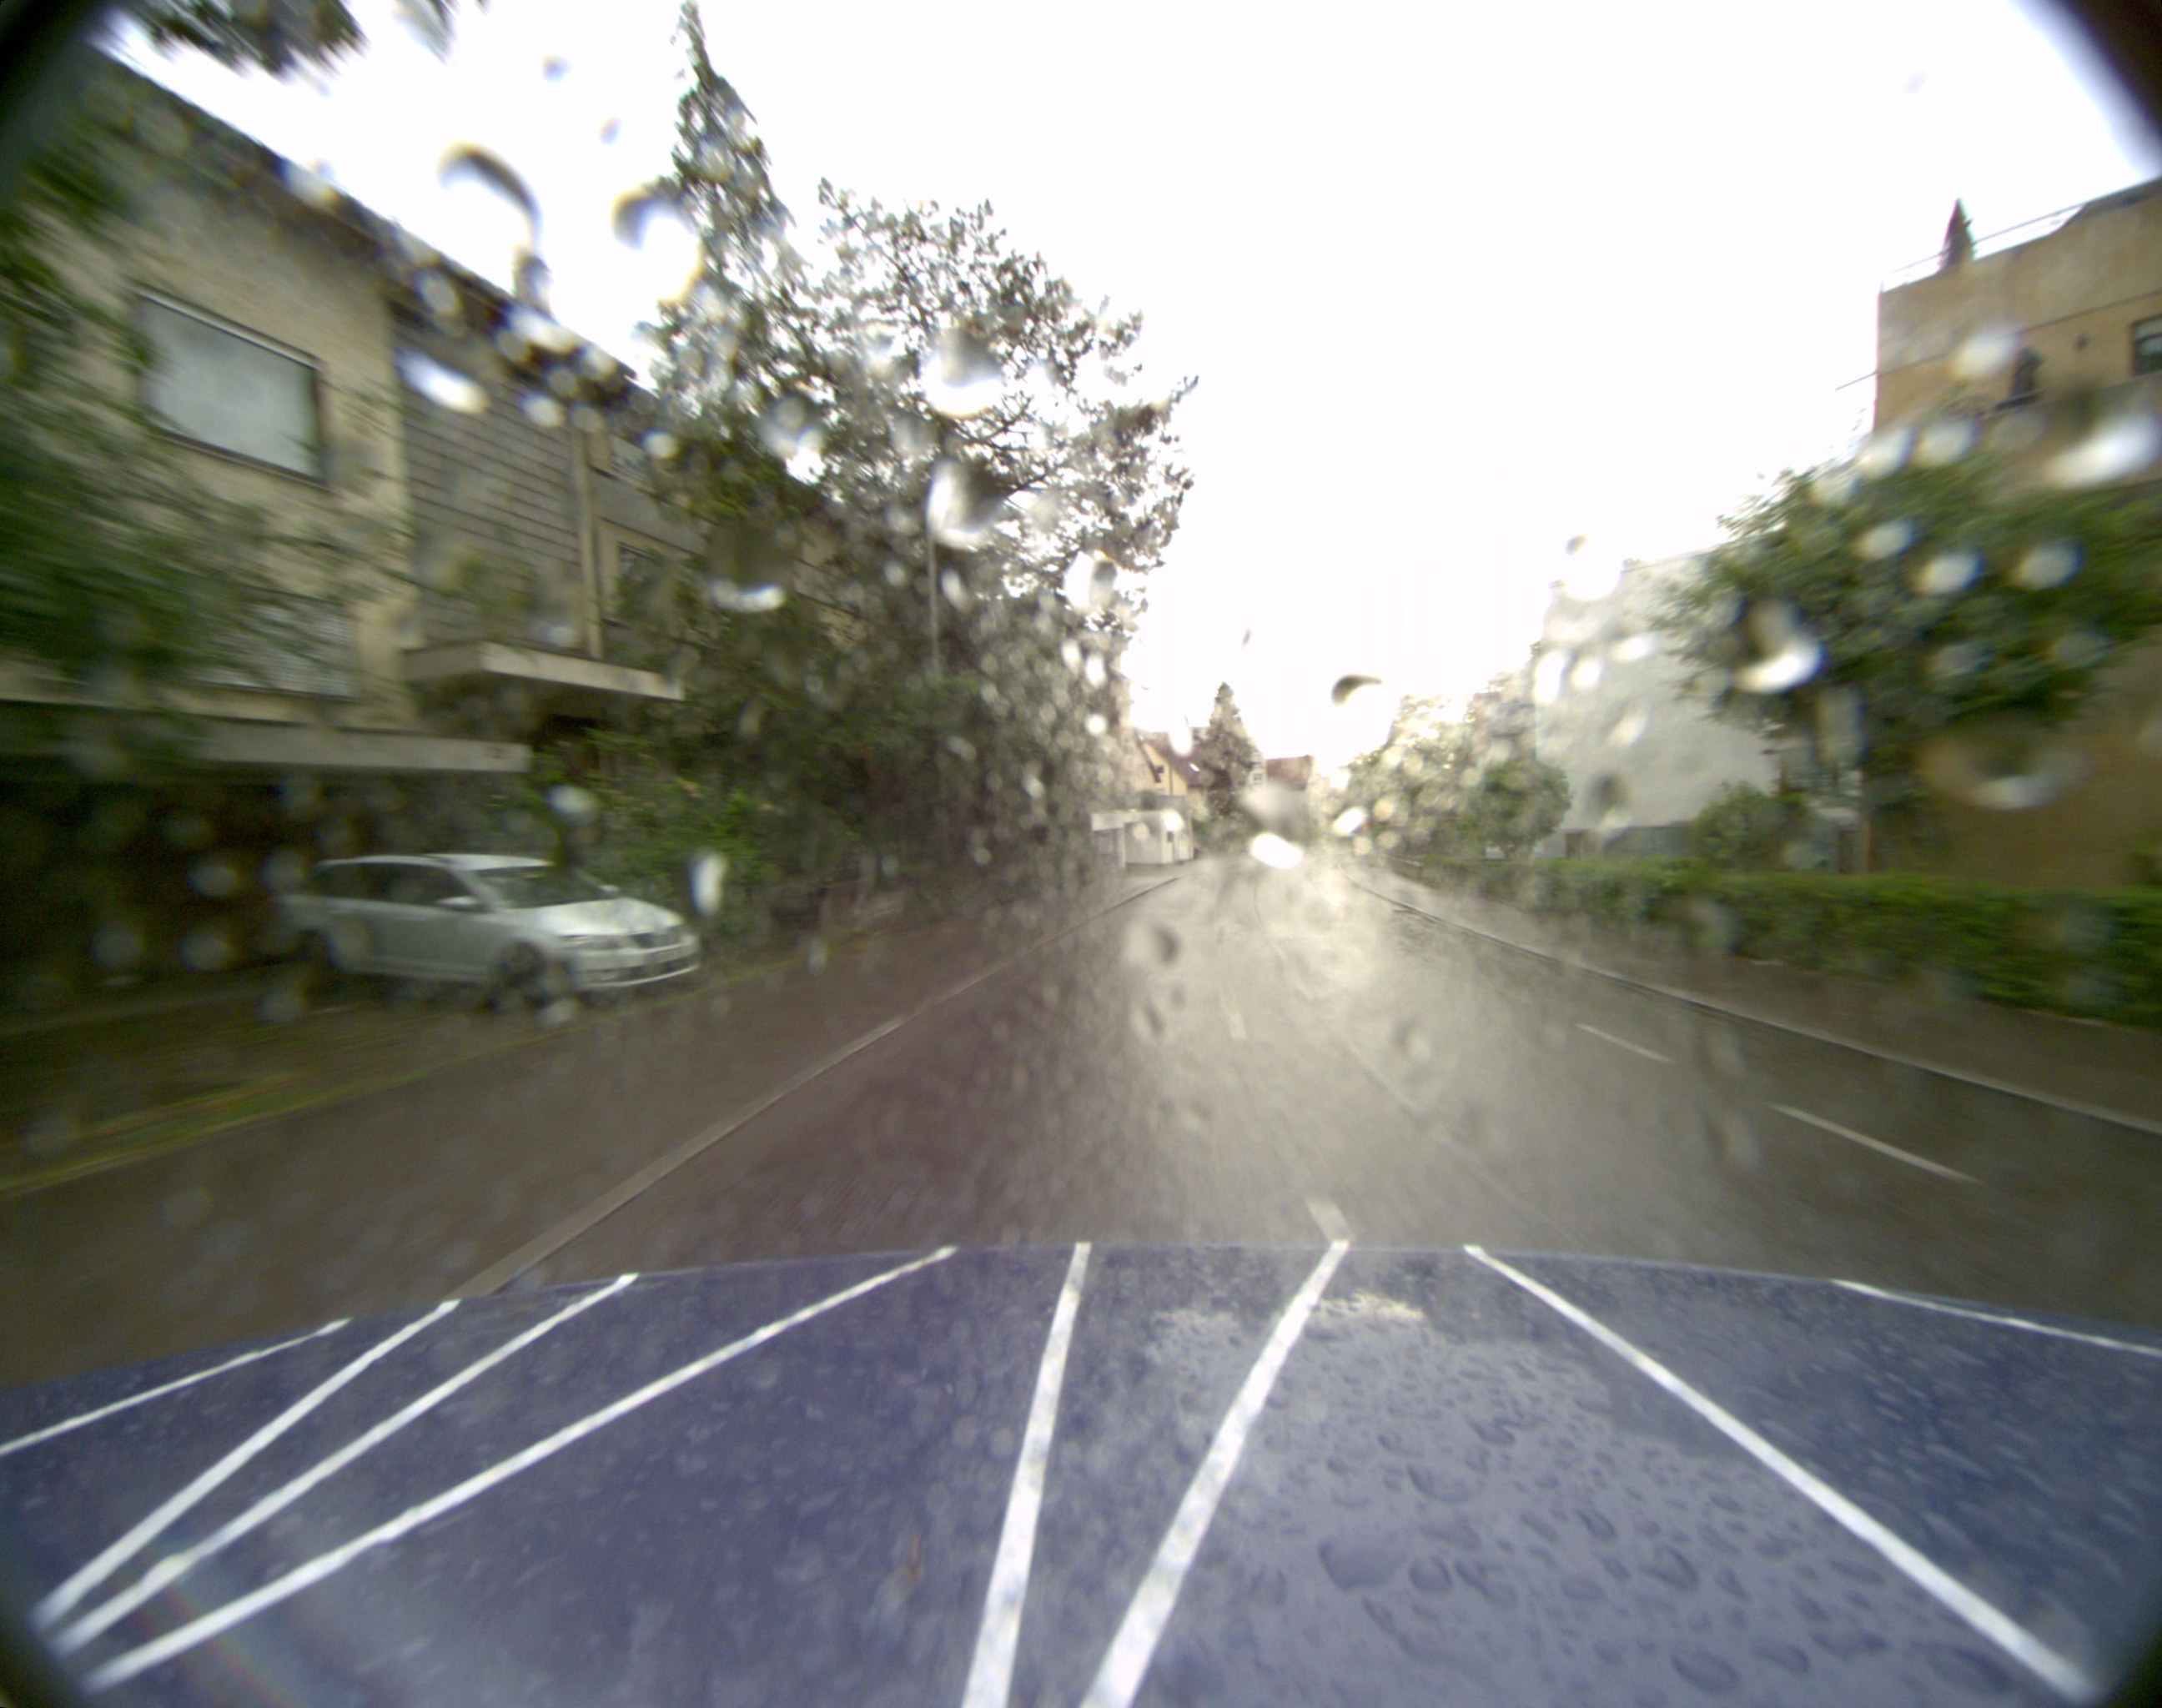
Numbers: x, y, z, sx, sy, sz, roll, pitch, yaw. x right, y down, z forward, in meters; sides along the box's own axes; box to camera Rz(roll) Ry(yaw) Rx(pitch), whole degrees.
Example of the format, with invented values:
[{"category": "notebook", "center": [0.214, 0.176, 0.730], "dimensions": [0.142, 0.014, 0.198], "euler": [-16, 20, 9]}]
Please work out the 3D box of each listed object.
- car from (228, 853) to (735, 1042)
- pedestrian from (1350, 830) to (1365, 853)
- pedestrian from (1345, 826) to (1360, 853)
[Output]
[{"category": "car", "center": [-6.500, 0.854, 8.430], "dimensions": [4.556, 1.544, 2.002], "euler": [2, 2, 13]}, {"category": "pedestrian", "center": [21.312, -0.971, 58.618], "dimensions": [0.847, 1.752, 0.781], "euler": [-2, 1, 1]}, {"category": "pedestrian", "center": [21.282, -1.125, 59.511], "dimensions": [0.870, 2.040, 0.803], "euler": [-2, 1, 1]}]
